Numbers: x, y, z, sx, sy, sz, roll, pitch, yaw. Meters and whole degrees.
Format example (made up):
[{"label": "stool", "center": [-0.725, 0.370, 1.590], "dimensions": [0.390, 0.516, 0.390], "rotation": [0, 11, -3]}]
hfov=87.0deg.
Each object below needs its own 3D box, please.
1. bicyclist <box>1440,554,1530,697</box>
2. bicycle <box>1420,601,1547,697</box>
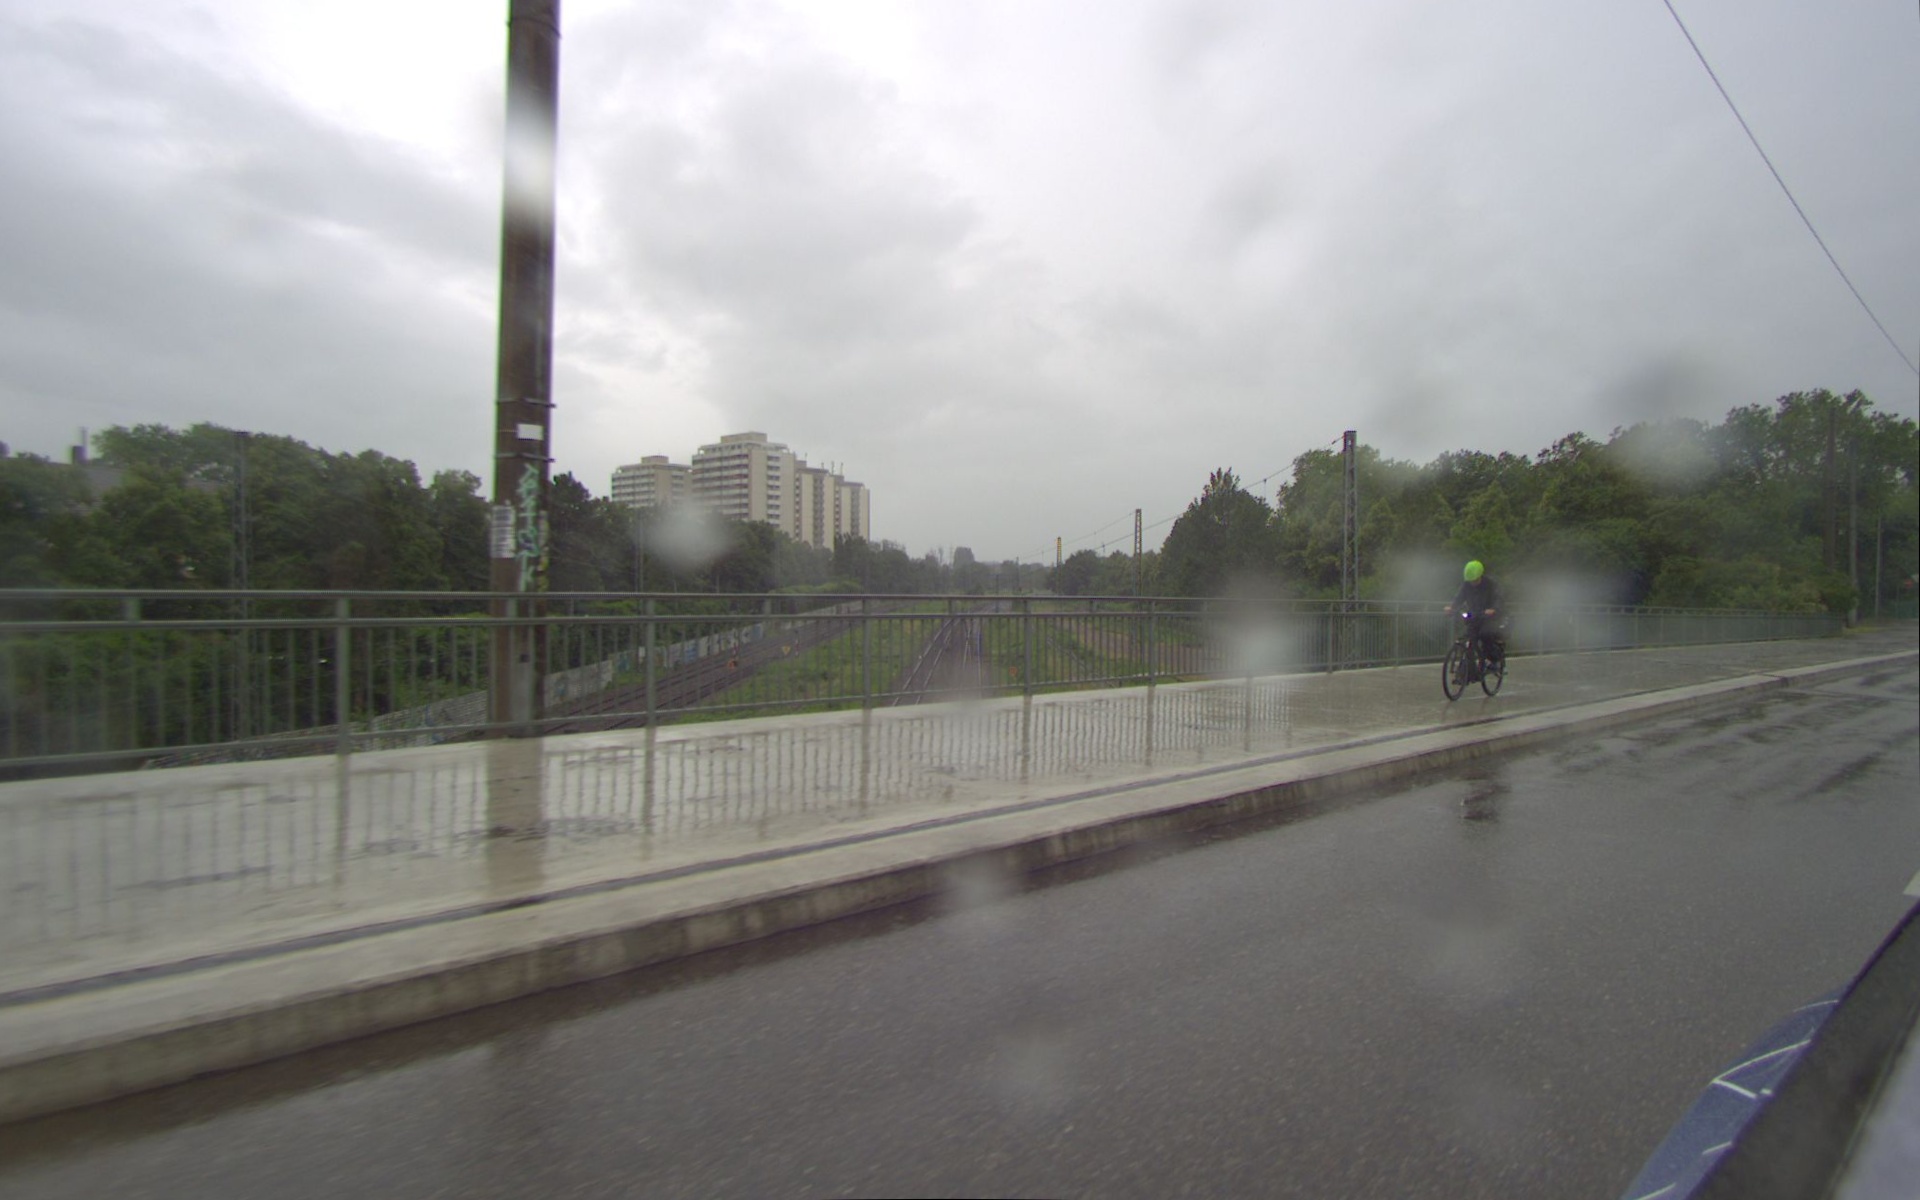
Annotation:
[{"label": "bicyclist", "center": [6.846, 0.311, 13.204], "dimensions": [0.933, 1.786, 0.727], "rotation": [-1, 0, -41]}, {"label": "bicycle", "center": [6.867, 0.597, 13.228], "dimensions": [2.130, 1.143, 0.724], "rotation": [-1, 0, -41]}]
